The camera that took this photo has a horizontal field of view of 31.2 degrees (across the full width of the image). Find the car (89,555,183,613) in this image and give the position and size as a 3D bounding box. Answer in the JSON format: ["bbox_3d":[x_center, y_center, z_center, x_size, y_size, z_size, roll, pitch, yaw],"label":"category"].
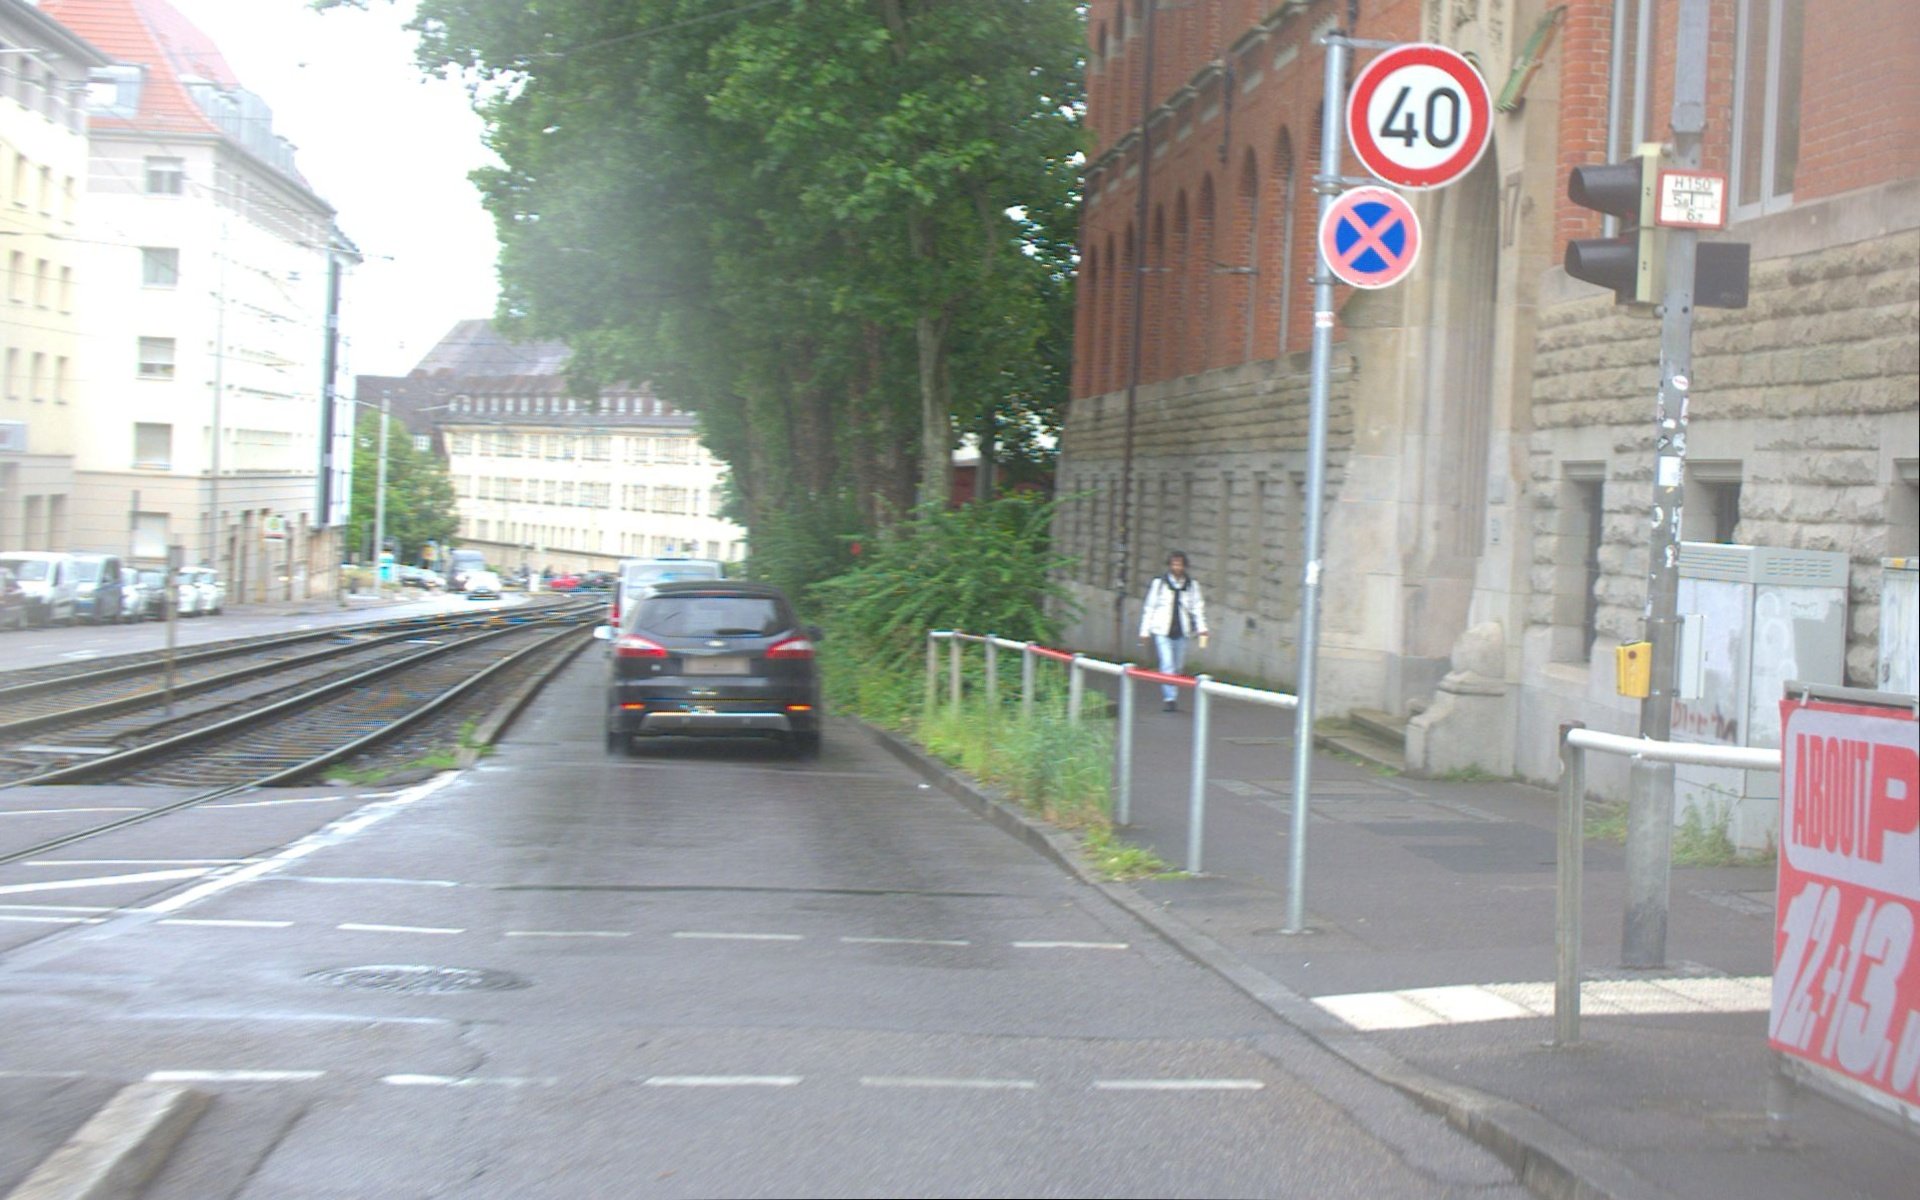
[{"bbox_3d":[-23.210,-0.469,96.989,1.813,1.494,4.583,3,0,-5],"label":"car"}]

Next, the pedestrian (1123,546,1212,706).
[{"bbox_3d":[2.225,0.277,36.957,0.823,1.673,0.860,2,0,-2],"label":"pedestrian"}]

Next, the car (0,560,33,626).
[{"bbox_3d":[-21.901,-0.199,75.850,1.851,1.427,4.832,3,0,-4],"label":"car"}]

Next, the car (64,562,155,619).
[{"bbox_3d":[-22.842,-0.262,92.462,1.691,1.434,4.050,2,0,-4],"label":"car"}]

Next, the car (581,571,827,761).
[{"bbox_3d":[-2.287,0.541,30.106,1.933,1.448,4.318,3,0,-6],"label":"car"}]

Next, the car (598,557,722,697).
[{"bbox_3d":[-4.621,0.402,52.619,1.740,2.007,3.904,2,0,-6],"label":"car"}]

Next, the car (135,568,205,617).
[{"bbox_3d":[-24.245,-0.228,105.642,1.703,1.392,3.936,3,0,-8],"label":"car"}]

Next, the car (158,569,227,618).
[{"bbox_3d":[-24.589,-0.201,110.173,1.708,1.445,3.542,4,0,-7],"label":"car"}]

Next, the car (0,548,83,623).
[{"bbox_3d":[-22.254,-0.345,81.785,1.867,1.711,4.460,2,0,-4],"label":"car"}]

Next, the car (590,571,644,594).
[{"bbox_3d":[-25.051,-1.298,250.989,1.994,1.537,3.999,2,0,-38],"label":"car"}]

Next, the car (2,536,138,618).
[{"bbox_3d":[-22.583,-0.566,87.444,1.993,1.898,5.459,4,0,-1],"label":"car"}]

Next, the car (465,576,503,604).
[{"bbox_3d":[-25.822,-0.526,186.447,1.711,1.457,4.281,1,0,-4],"label":"car"}]
